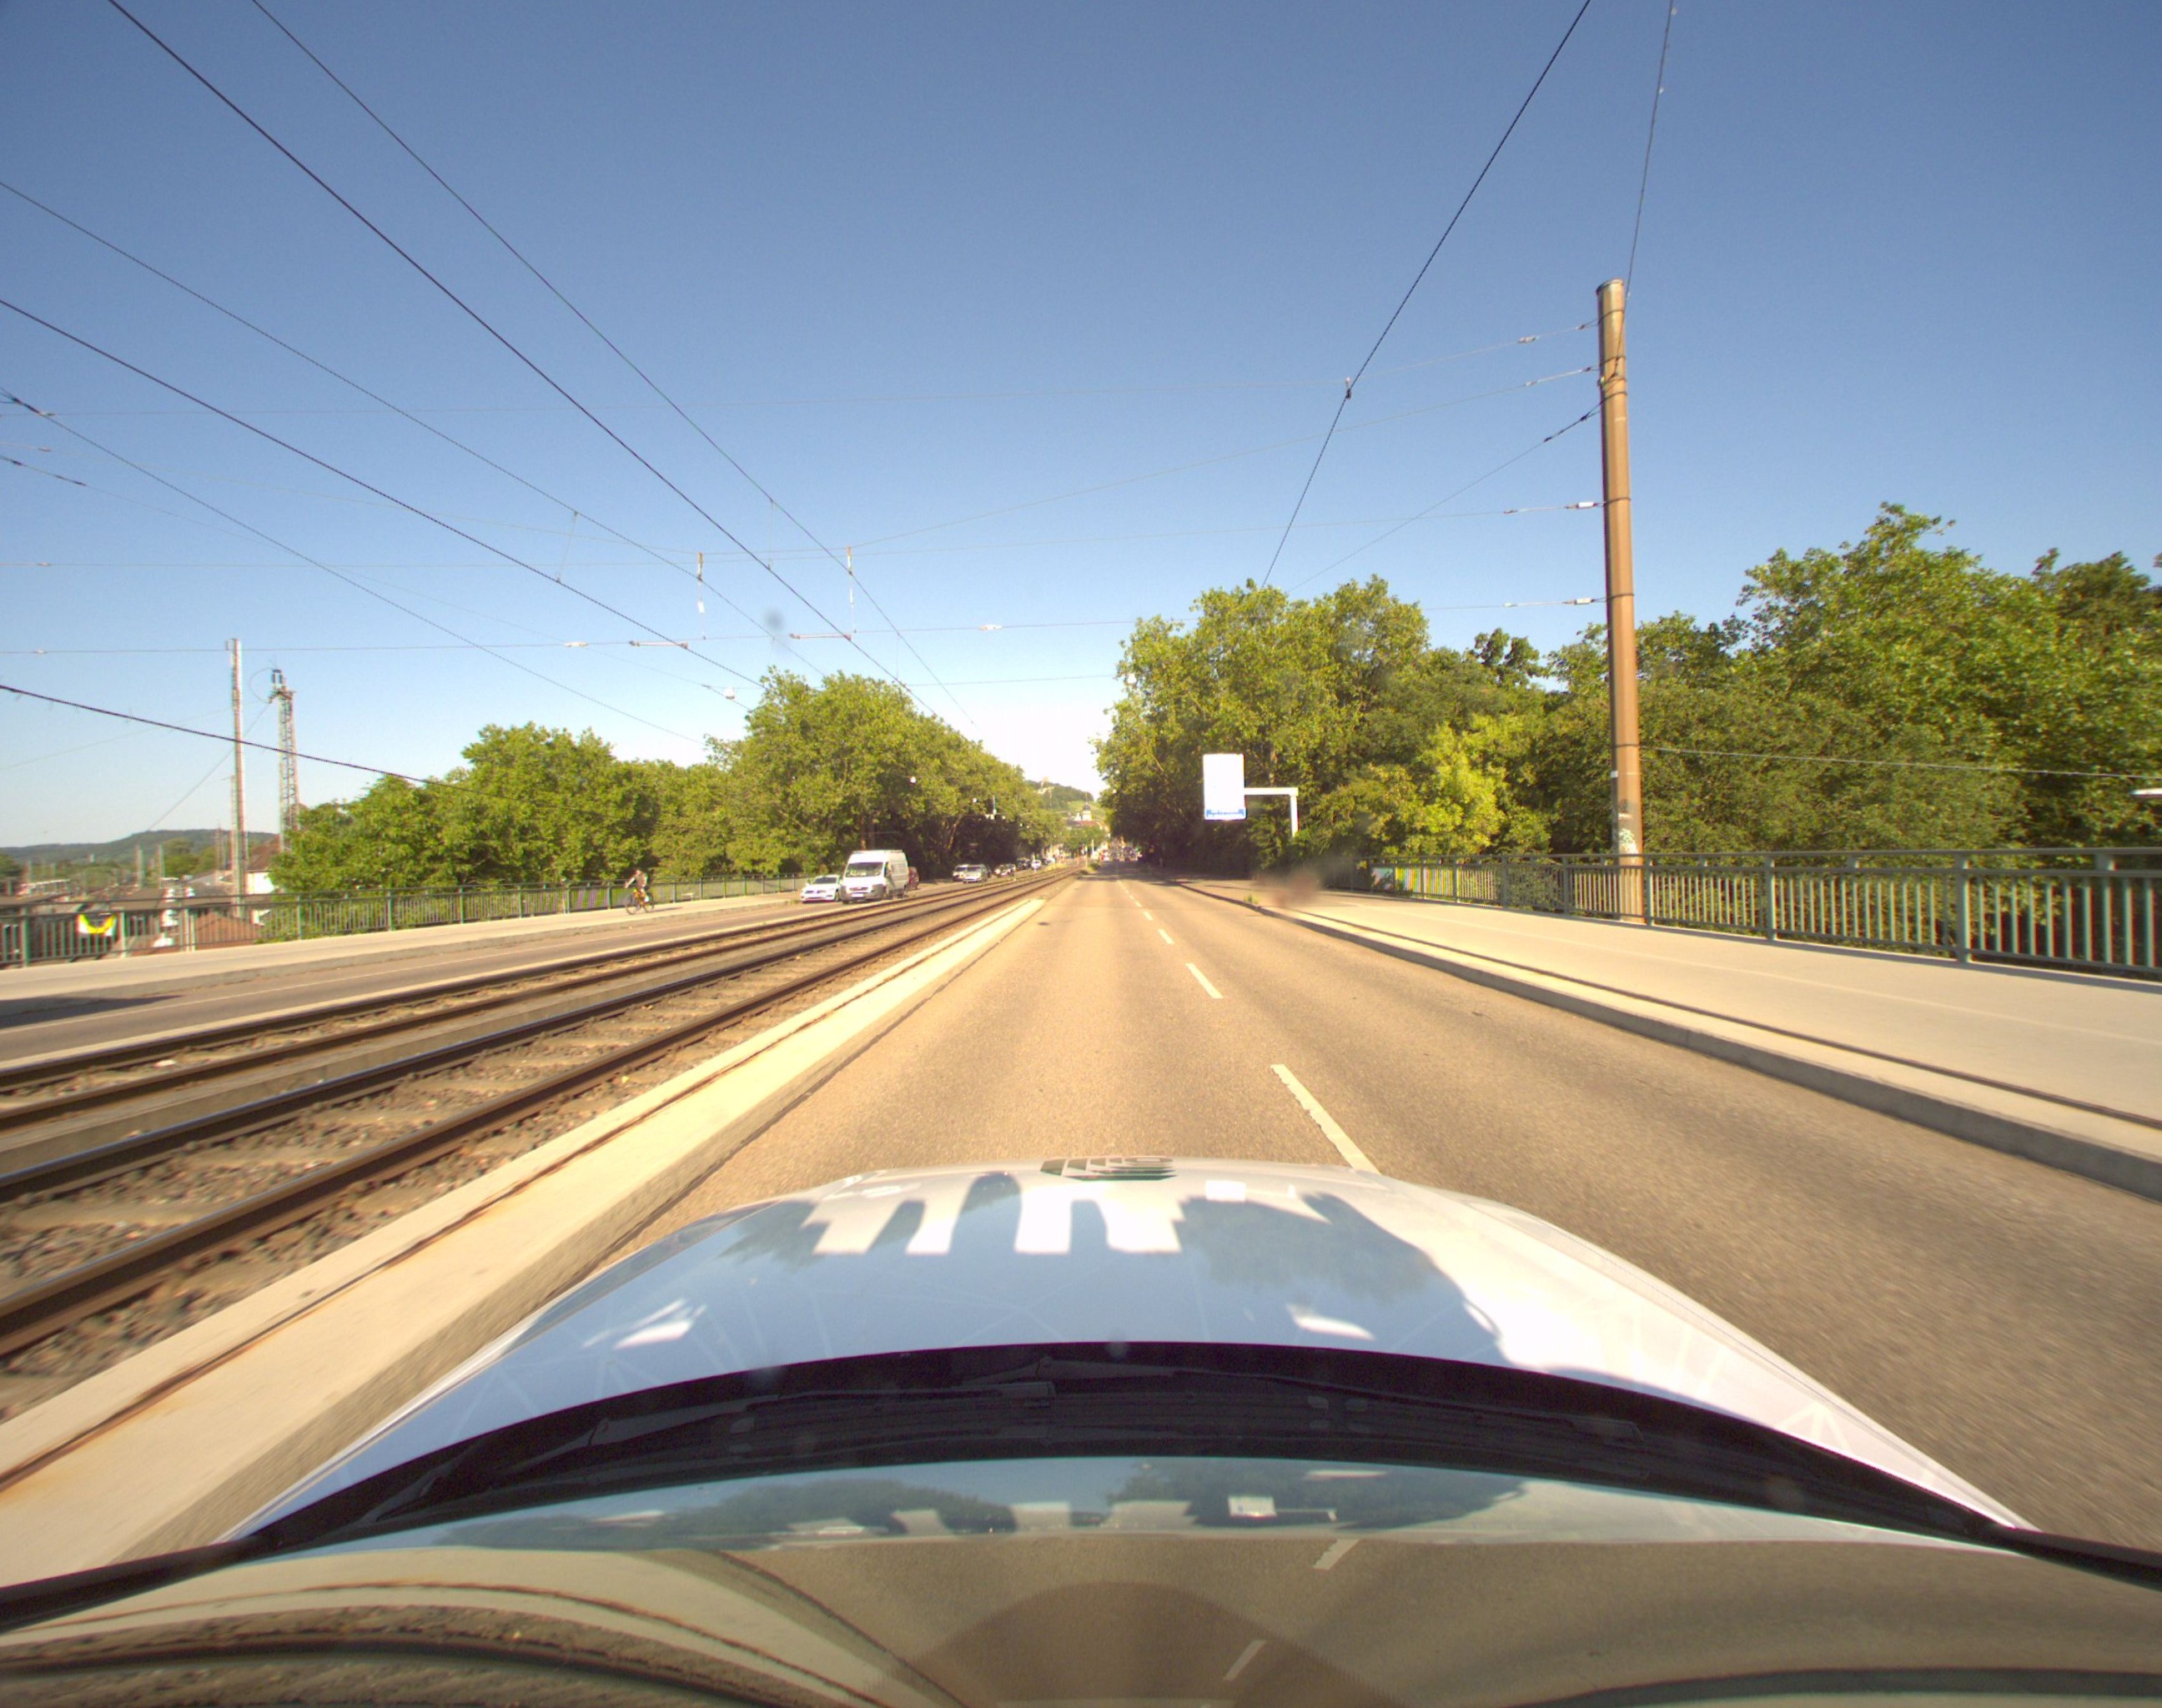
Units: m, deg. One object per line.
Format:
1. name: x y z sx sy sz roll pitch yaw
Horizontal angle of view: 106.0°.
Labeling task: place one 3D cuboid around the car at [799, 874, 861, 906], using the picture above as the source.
1. car: -13.539 1.903 44.247 1.736 1.464 4.956 -2 0 0

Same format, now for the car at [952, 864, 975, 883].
1. car: -12.794 2.128 88.994 1.737 1.743 4.512 -5 0 -1

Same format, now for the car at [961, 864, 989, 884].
1. car: -9.854 1.806 76.017 1.866 1.665 4.599 2 0 2

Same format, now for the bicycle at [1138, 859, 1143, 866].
1. bicycle: 13.087 1.865 179.054 0.883 1.321 2.641 -2 -1 2

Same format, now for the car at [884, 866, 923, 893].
1. car: -13.201 1.859 60.874 1.735 1.754 4.685 -2 0 1

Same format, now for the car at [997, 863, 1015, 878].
1. car: -9.161 1.971 100.134 1.736 1.623 4.393 -4 0 0

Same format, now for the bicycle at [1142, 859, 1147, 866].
1. bicycle: 12.840 1.700 165.347 0.883 1.321 2.641 -2 -1 2

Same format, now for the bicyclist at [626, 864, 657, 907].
1. bicyclist: -16.919 1.207 31.335 0.677 1.626 0.890 0 0 2

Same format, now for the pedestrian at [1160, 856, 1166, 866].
1. pedestrian: 12.202 1.023 121.046 0.800 1.546 0.815 -2 -1 5

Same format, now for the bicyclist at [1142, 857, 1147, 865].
1. bicyclist: 12.826 1.374 165.442 0.883 1.638 1.165 -2 -1 2

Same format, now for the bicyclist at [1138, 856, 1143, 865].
1. bicyclist: 13.078 1.404 179.046 0.883 1.774 1.223 -2 -1 2

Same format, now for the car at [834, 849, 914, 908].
1. car: -10.165 1.117 40.596 2.079 2.593 6.043 -4 0 2

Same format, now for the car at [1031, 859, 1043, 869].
1. car: -8.732 2.017 163.116 1.987 1.844 5.301 -1 0 0

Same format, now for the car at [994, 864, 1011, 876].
1. car: -11.926 2.422 123.906 1.987 1.697 4.744 -2 -1 0

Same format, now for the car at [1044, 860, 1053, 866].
1. car: -9.128 2.555 229.044 1.987 1.697 4.744 -2 -1 0

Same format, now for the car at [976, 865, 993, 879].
1. car: -12.307 2.268 104.187 1.738 1.636 3.995 -3 0 -3

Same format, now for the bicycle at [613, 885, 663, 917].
1. bicycle: -16.925 1.773 31.181 0.677 1.097 2.101 0 0 2
